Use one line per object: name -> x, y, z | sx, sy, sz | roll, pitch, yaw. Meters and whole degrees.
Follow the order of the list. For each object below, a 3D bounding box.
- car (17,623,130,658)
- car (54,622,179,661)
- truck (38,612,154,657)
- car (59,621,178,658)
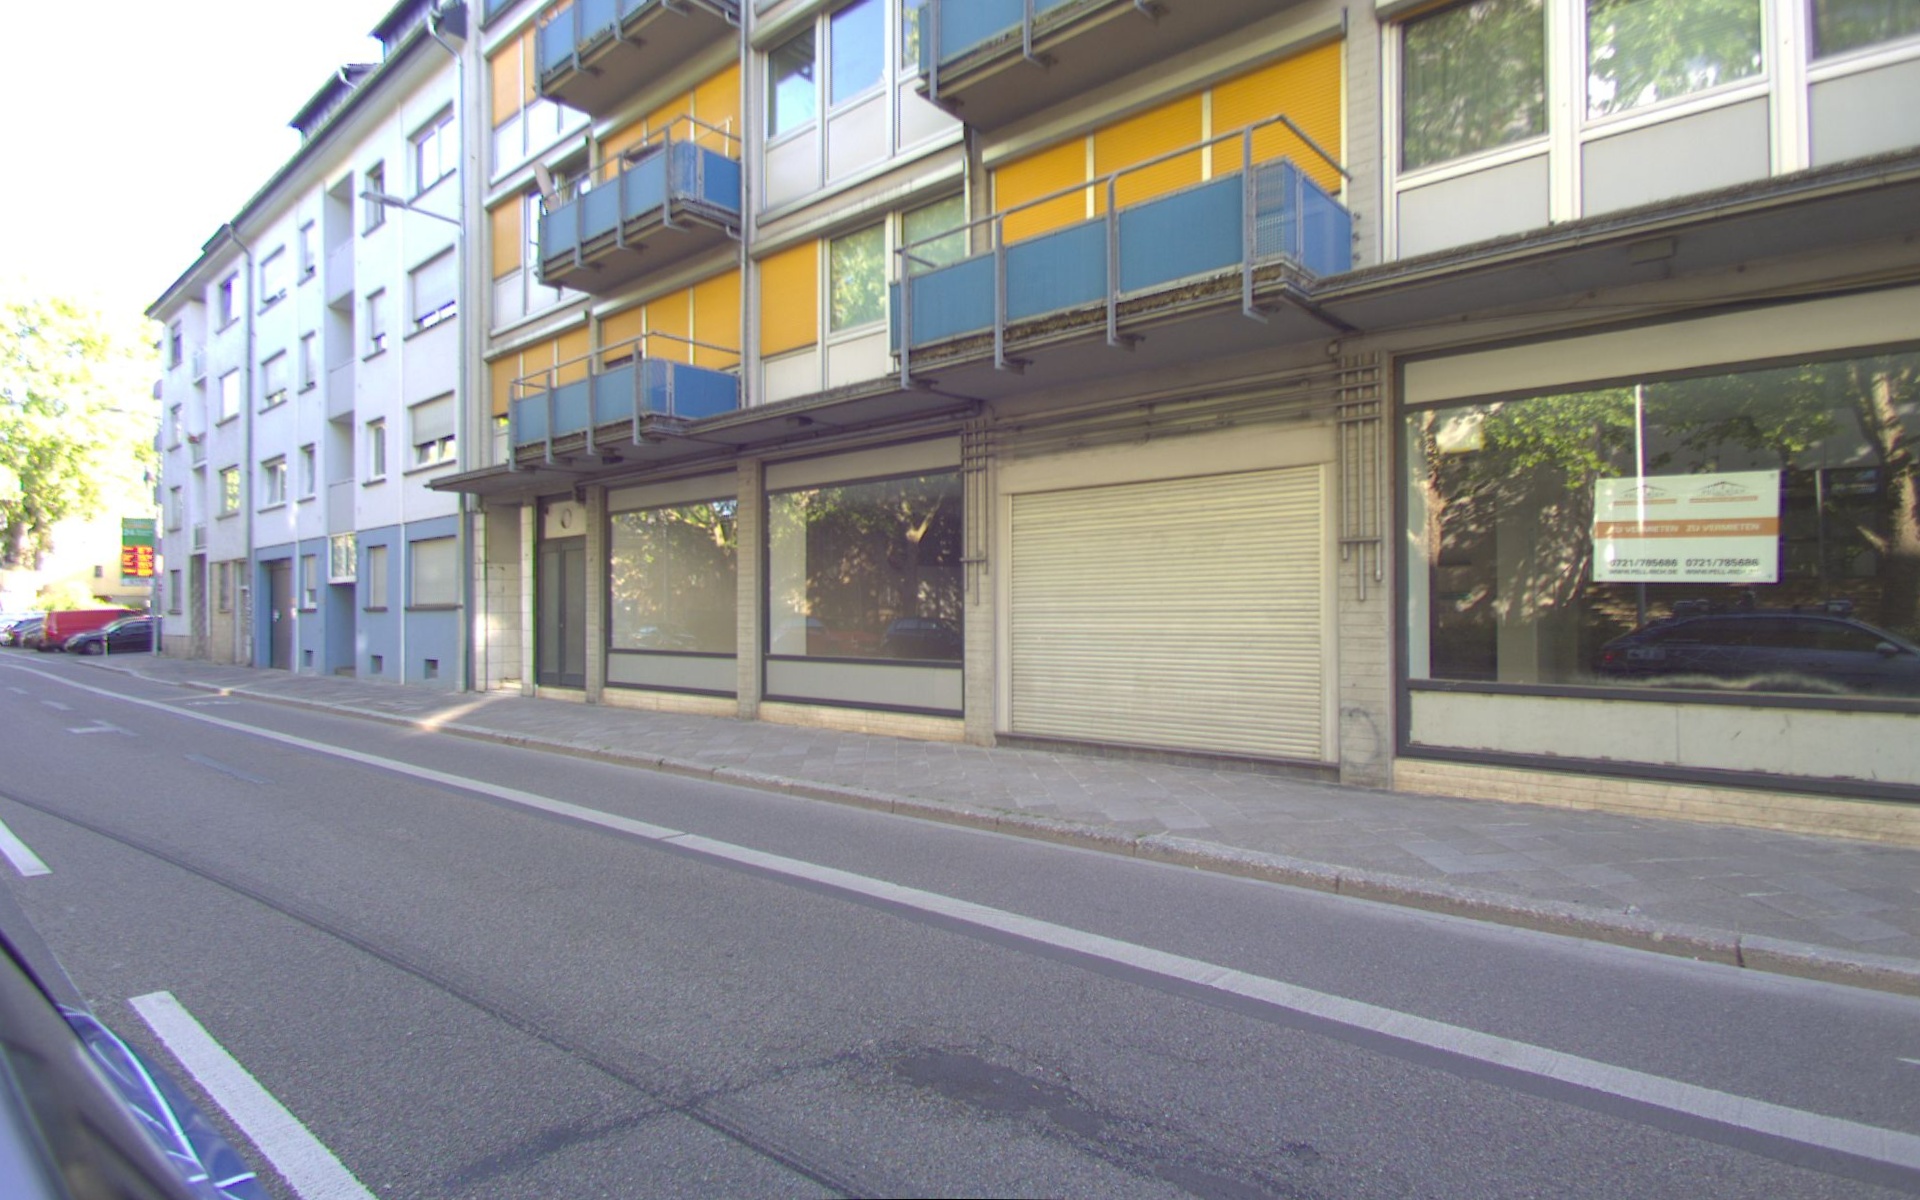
car -> -42.907, 1.906, 49.034 | 1.761, 1.514, 3.944 | -1, 0, 42
car -> -36.625, 1.765, 44.008 | 1.761, 1.468, 3.944 | -1, 0, 42
truck -> -40.497, 1.573, 47.487 | 1.761, 1.951, 3.944 | -1, 0, 42
car -> -38.106, 1.761, 45.896 | 1.761, 1.514, 3.944 | -1, 0, 42
